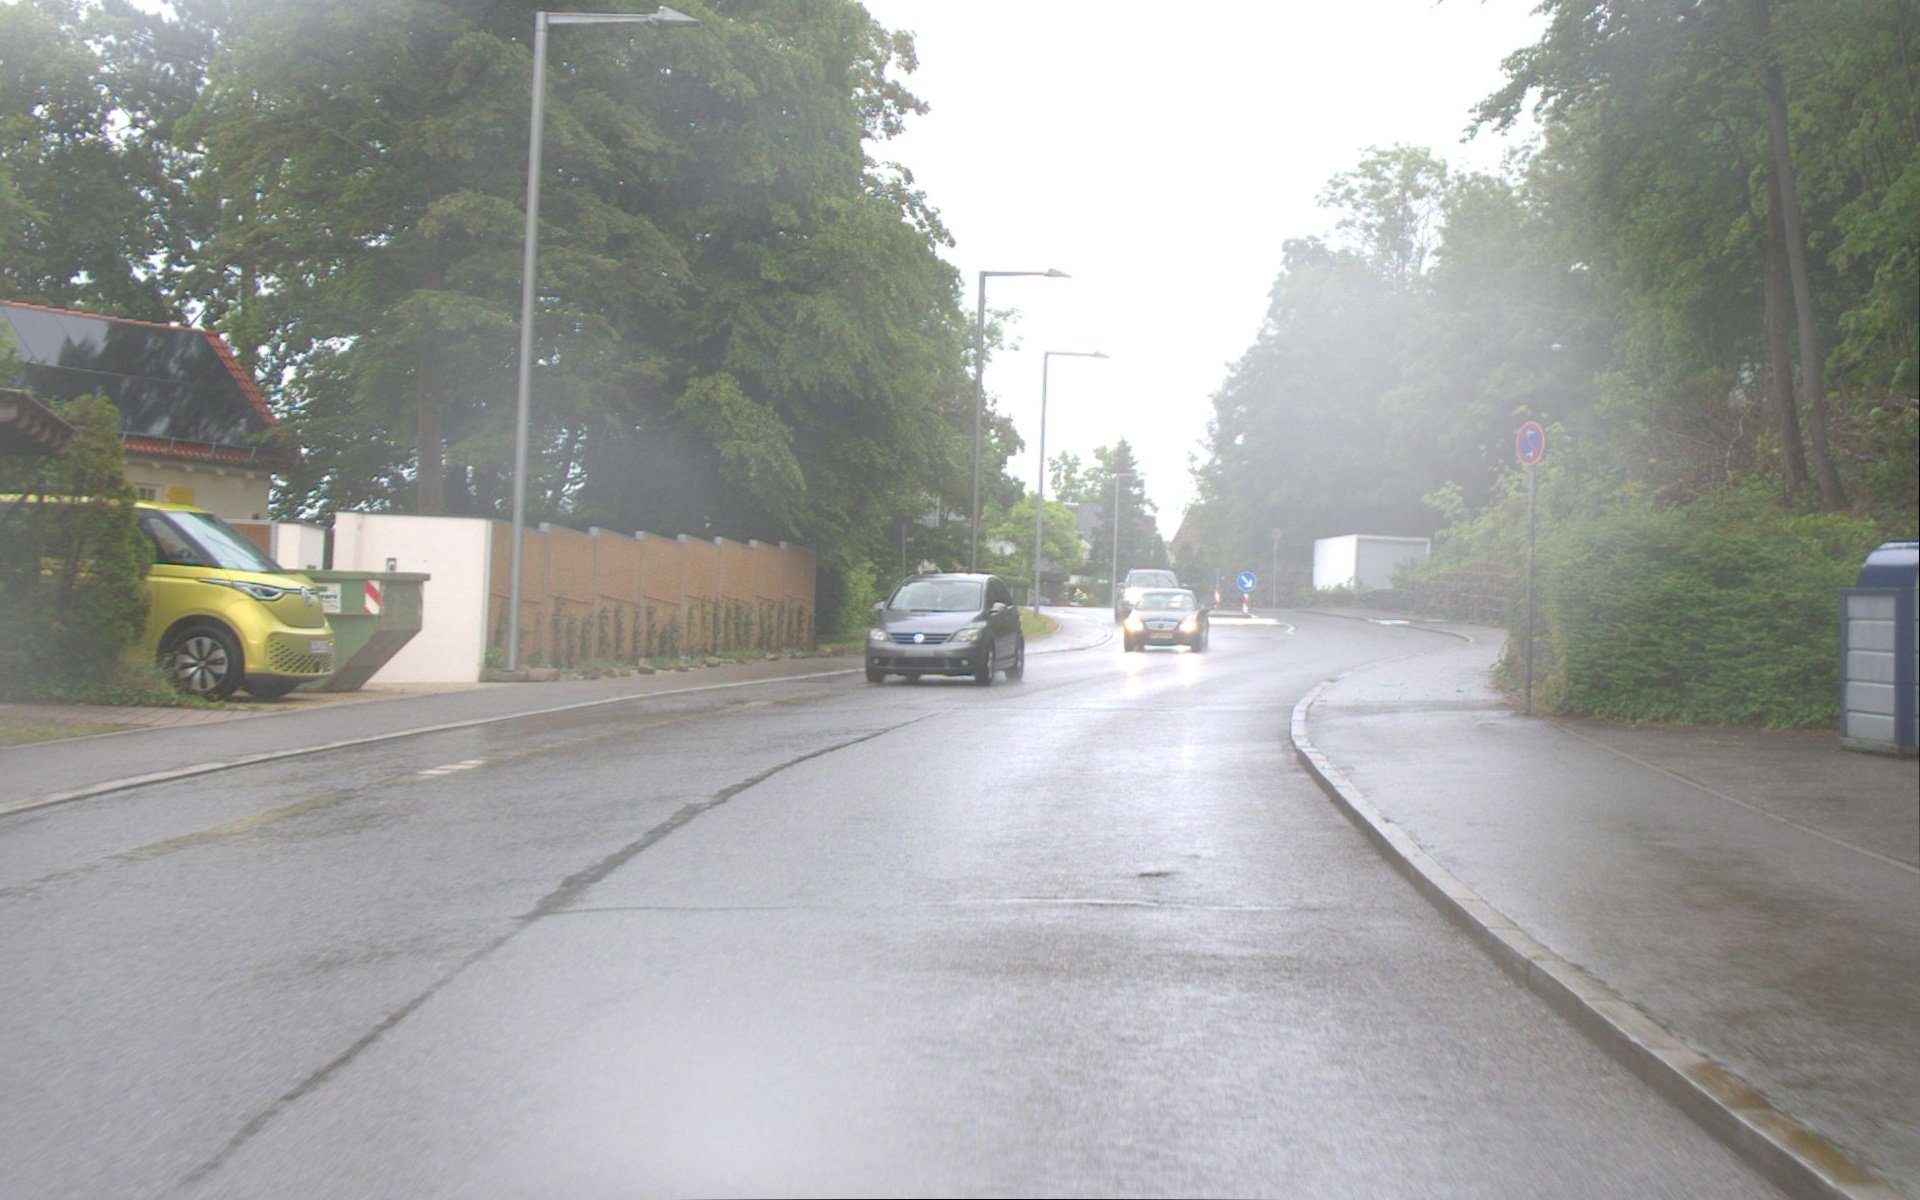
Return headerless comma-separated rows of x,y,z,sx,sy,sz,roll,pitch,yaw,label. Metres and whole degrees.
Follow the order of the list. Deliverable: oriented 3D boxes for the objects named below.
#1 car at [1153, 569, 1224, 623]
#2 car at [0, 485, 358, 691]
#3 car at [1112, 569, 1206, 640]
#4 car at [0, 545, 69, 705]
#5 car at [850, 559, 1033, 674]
7.164,-0.144,107.483,1.919,1.642,4.545,1,0,7,car
-8.291,-0.147,32.984,4.504,1.853,2.089,1,1,8,car
4.502,0.082,77.273,1.834,1.506,4.168,1,0,7,car
-9.700,0.186,28.816,3.995,1.298,1.791,0,1,1,car
-0.207,0.215,49.143,1.835,1.506,4.615,2,0,9,car
